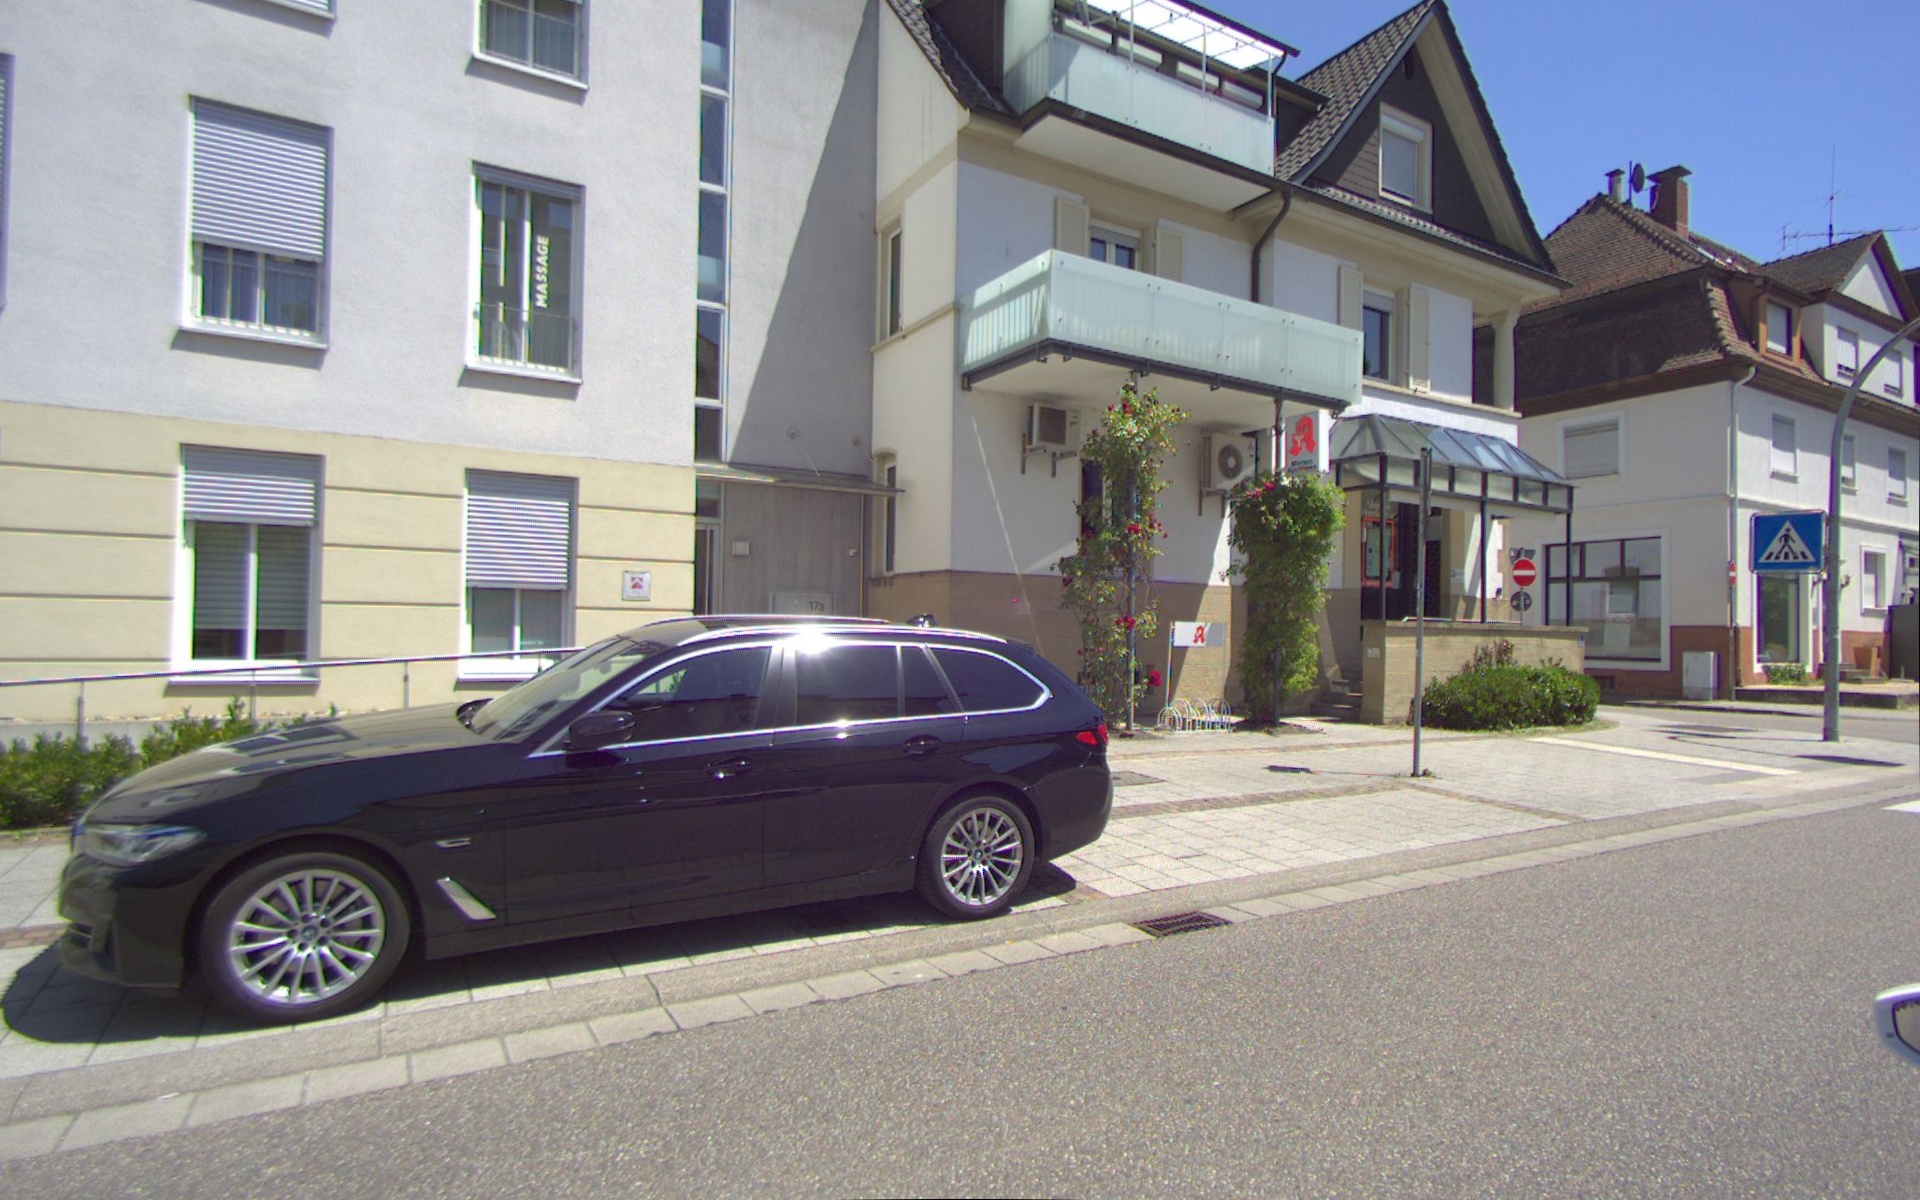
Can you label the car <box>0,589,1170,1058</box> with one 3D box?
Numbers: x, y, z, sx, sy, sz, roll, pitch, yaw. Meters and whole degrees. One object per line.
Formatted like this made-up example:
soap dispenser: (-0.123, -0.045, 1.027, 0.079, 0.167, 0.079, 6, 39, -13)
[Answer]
car: (-1.495, 0.780, 5.263, 5.088, 1.471, 1.907, 2, 1, -30)
